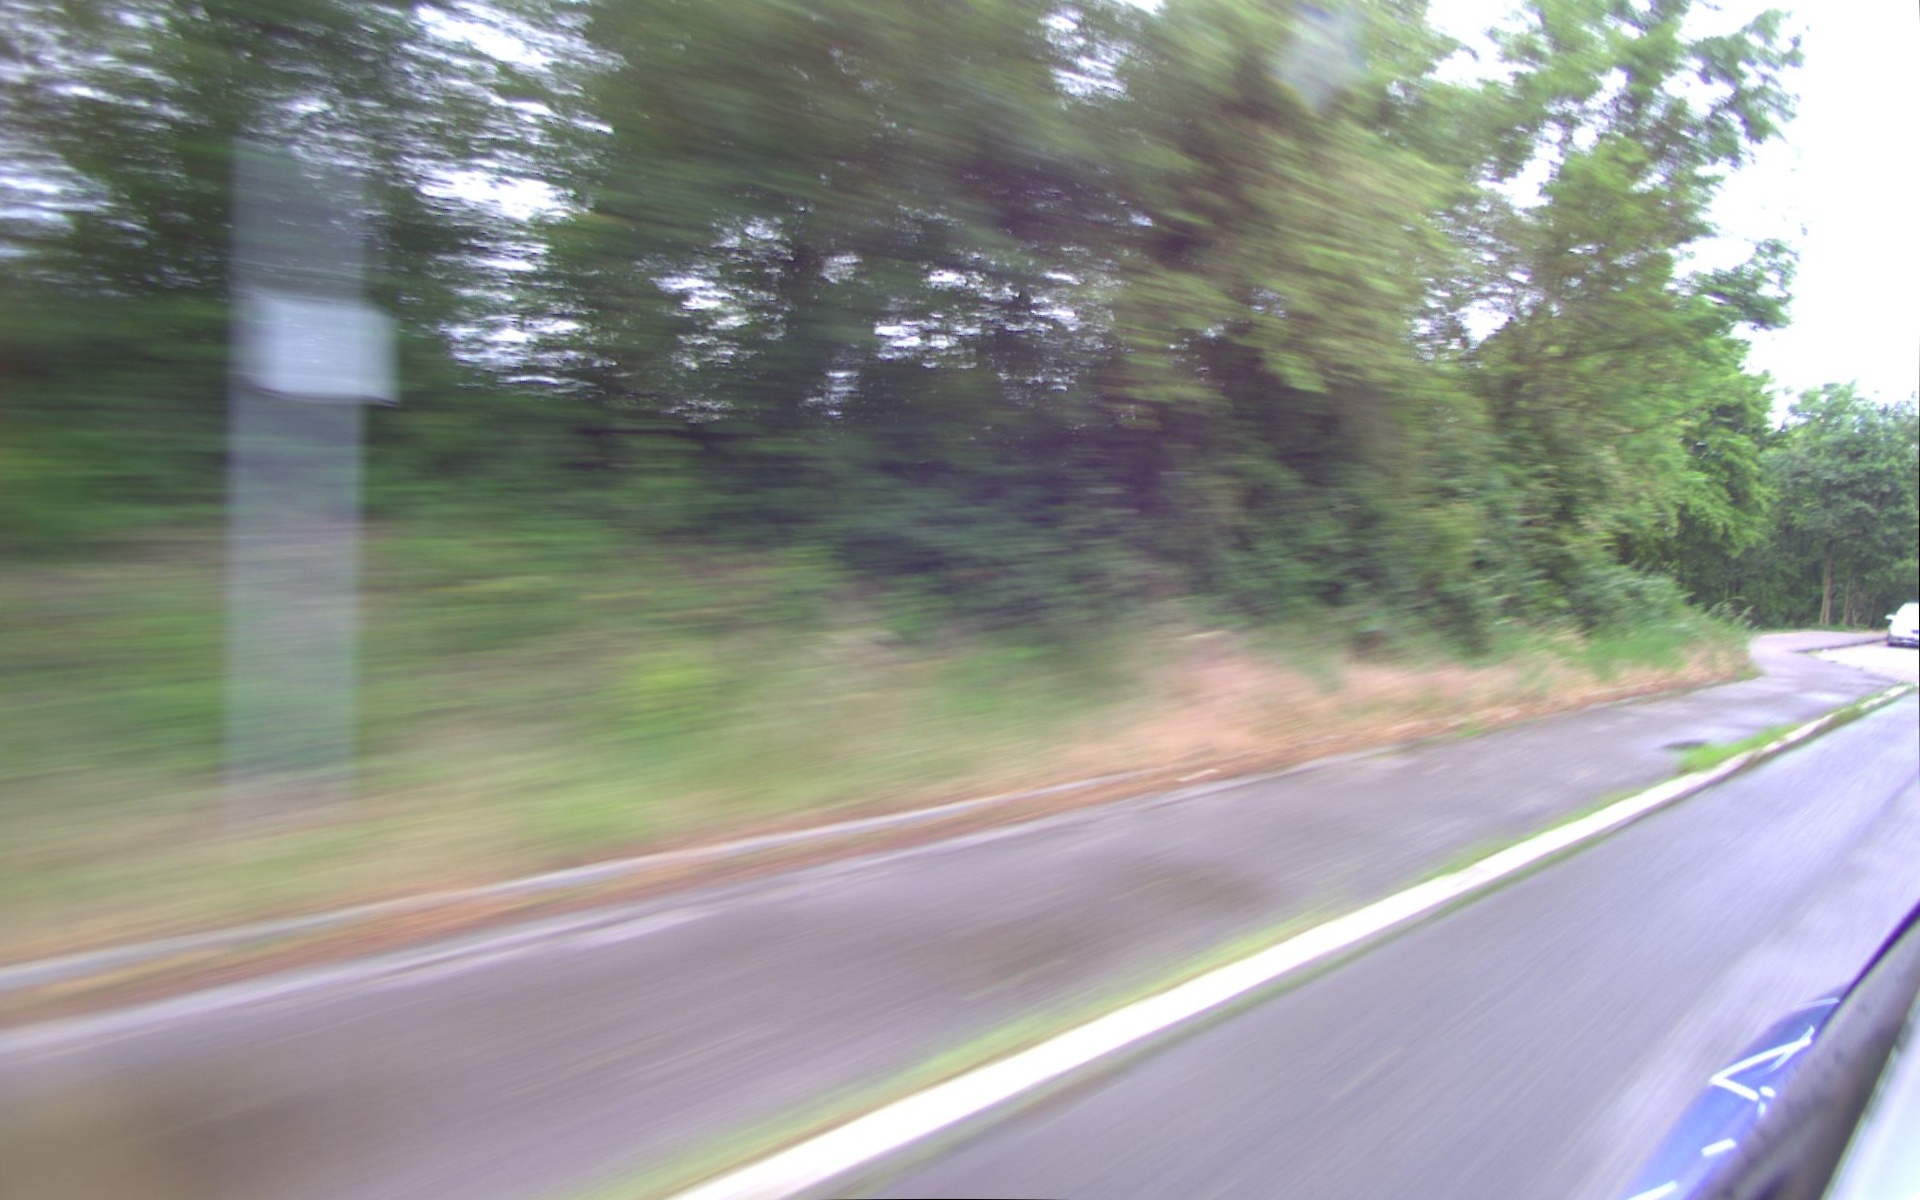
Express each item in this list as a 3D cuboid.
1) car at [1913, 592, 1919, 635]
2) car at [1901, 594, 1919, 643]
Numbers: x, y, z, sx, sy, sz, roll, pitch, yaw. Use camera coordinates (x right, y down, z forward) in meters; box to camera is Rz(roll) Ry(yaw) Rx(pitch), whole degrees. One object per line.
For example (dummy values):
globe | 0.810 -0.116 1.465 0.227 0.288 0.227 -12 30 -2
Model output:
car | 36.675 0.529 37.274 4.586 1.528 1.810 -1 4 -41
car | 32.132 0.613 33.164 1.745 1.486 4.154 4 4 44
